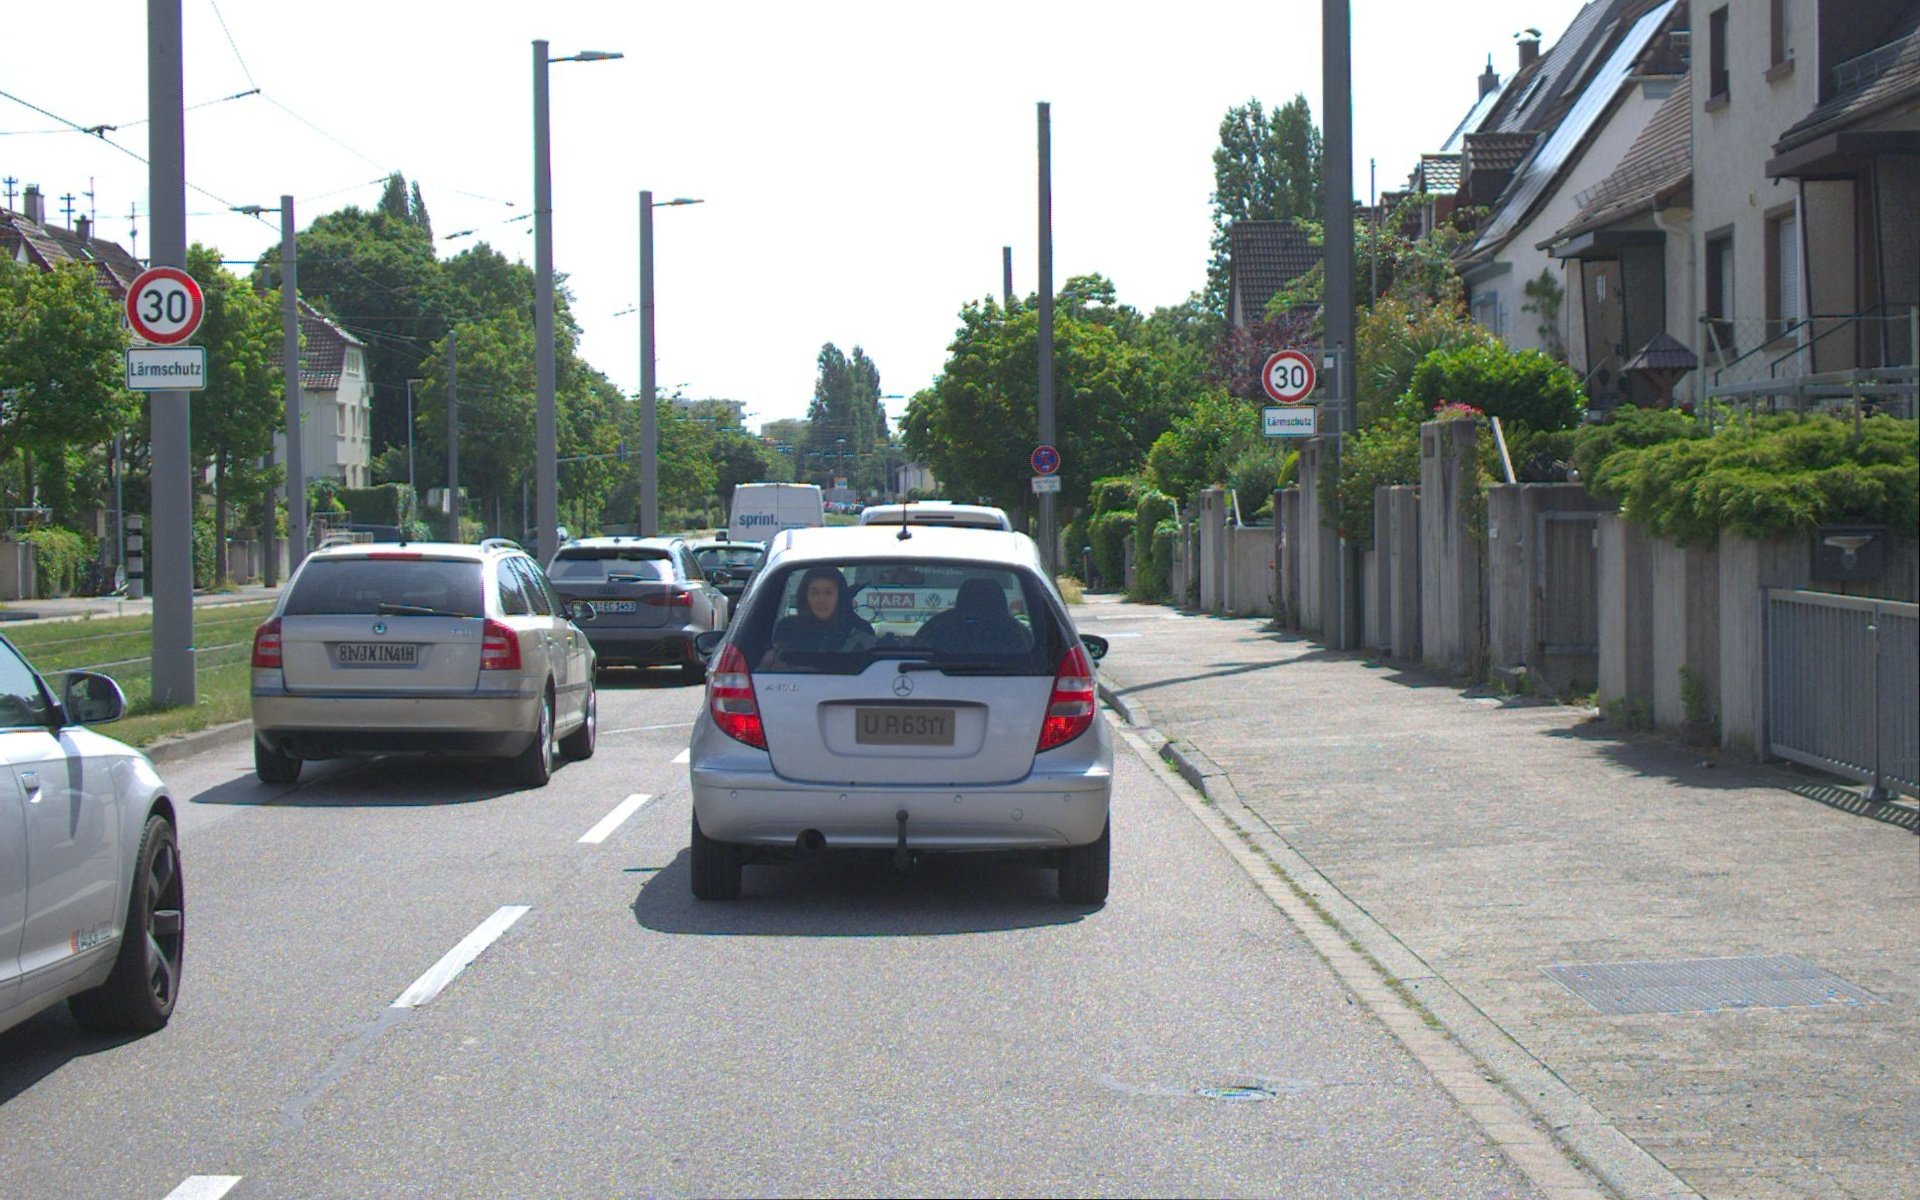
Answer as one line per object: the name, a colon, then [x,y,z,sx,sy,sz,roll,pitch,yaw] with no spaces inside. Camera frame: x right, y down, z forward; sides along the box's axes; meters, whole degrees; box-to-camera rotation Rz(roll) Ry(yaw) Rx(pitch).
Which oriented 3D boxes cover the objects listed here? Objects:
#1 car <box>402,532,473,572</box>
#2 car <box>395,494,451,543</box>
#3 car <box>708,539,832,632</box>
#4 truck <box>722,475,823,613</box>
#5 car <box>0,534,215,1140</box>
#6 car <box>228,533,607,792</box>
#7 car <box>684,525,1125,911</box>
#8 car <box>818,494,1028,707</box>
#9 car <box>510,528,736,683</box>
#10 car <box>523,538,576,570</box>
car: [-20.091,-1.858,132.422,1.916,1.472,4.562,1,1,1]
car: [-26.052,-3.960,166.895,1.916,2.322,4.562,1,1,1]
car: [-2.961,-0.258,54.318,1.852,1.383,4.515,1,1,-2]
truck: [-3.618,-1.091,67.073,1.852,2.543,5.856,1,1,-2]
car: [-3.272,0.586,8.827,1.794,1.467,4.723,0,2,-1]
car: [-3.289,0.317,21.567,1.731,1.444,4.123,1,1,0]
car: [-0.302,0.434,15.689,1.730,1.511,4.017,1,1,-2]
car: [-0.305,-0.035,30.833,1.730,1.756,4.017,1,1,0]
car: [-3.451,0.010,35.972,1.916,1.472,4.562,1,1,0]
car: [-19.965,-2.240,167.436,1.916,1.472,4.562,1,1,1]
